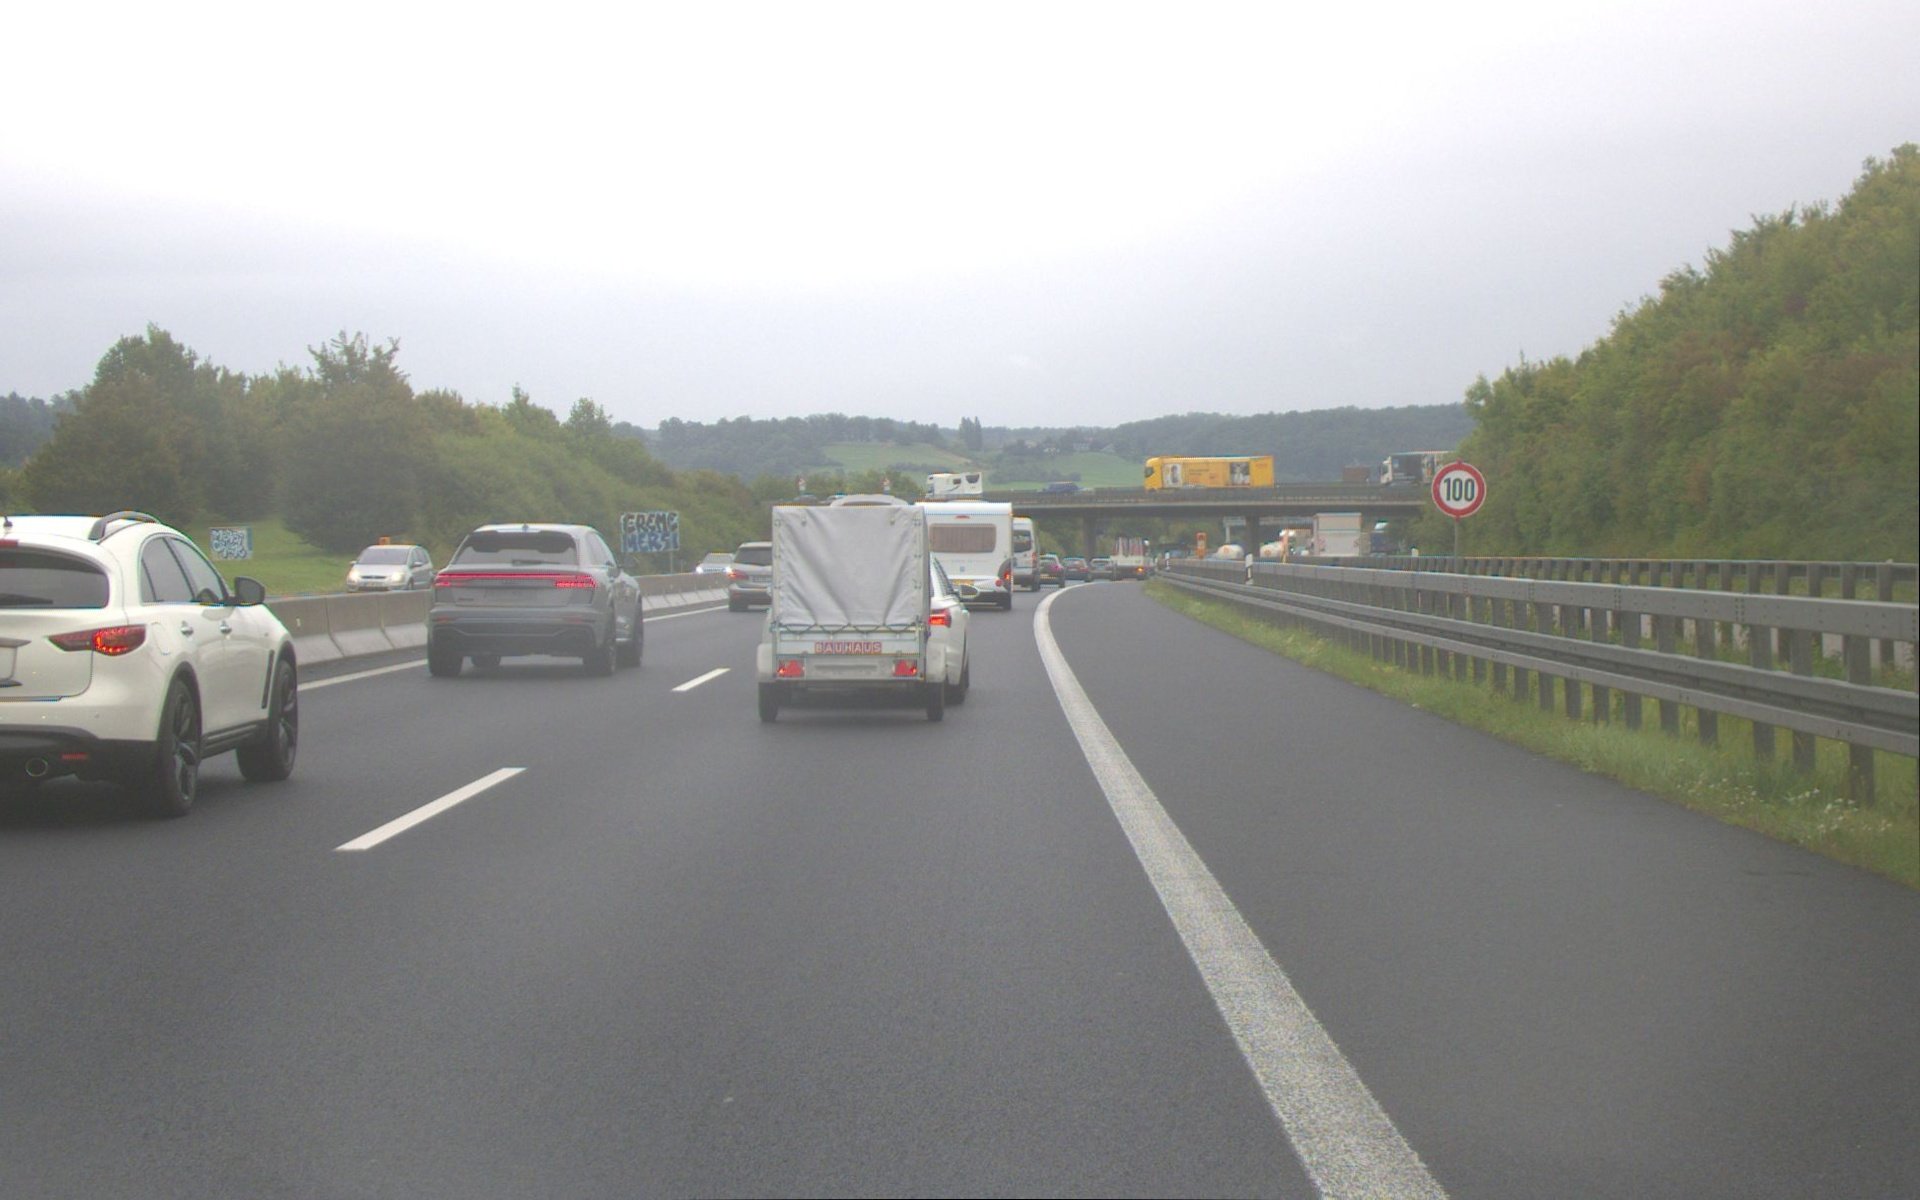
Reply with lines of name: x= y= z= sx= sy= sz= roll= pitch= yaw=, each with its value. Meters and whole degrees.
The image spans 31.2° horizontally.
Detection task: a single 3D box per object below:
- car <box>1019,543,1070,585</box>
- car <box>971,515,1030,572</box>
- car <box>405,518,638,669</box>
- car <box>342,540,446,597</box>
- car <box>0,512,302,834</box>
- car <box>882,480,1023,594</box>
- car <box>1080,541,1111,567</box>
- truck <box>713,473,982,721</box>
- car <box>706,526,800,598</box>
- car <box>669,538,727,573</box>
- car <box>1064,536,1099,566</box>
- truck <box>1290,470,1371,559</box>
car: x=3.575 y=-1.520 z=146.231 sx=1.993 sy=1.744 sz=4.000 roll=1 pitch=1 yaw=-1
car: x=1.472 y=-2.063 z=125.292 sx=1.993 sy=2.029 sz=4.152 roll=1 pitch=1 yaw=-1
car: x=-4.947 y=-0.105 z=39.382 sx=2.174 sy=1.626 sz=4.501 roll=0 pitch=1 yaw=-1
car: x=-16.570 y=-0.939 z=100.797 sx=2.180 sy=1.629 sz=4.537 roll=0 pitch=1 yaw=2
car: x=-5.151 y=0.338 z=19.678 sx=1.976 sy=1.633 sz=4.501 roll=0 pitch=1 yaw=-1
car: x=-0.118 y=-1.526 z=82.273 sx=3.017 sy=2.607 sz=6.074 roll=0 pitch=1 yaw=3
car: x=9.245 y=-3.120 z=234.288 sx=1.994 sy=1.744 sz=4.000 roll=1 pitch=1 yaw=4
truck: x=-0.878 y=-0.097 z=31.134 sx=2.019 sy=1.979 sz=7.213 roll=0 pitch=1 yaw=1
car: x=-4.774 y=-0.896 z=79.688 sx=1.900 sy=1.607 sz=4.017 roll=0 pitch=1 yaw=0
car: x=-13.124 y=-2.254 z=172.663 sx=2.180 sy=1.690 sz=5.249 roll=0 pitch=1 yaw=4
car: x=7.175 y=-2.874 z=202.199 sx=1.994 sy=1.744 sz=4.000 roll=1 pitch=1 yaw=3
truck: x=21.905 y=-5.065 z=203.786 sx=4.094 sy=5.086 sz=10.463 roll=0 pitch=1 yaw=3
